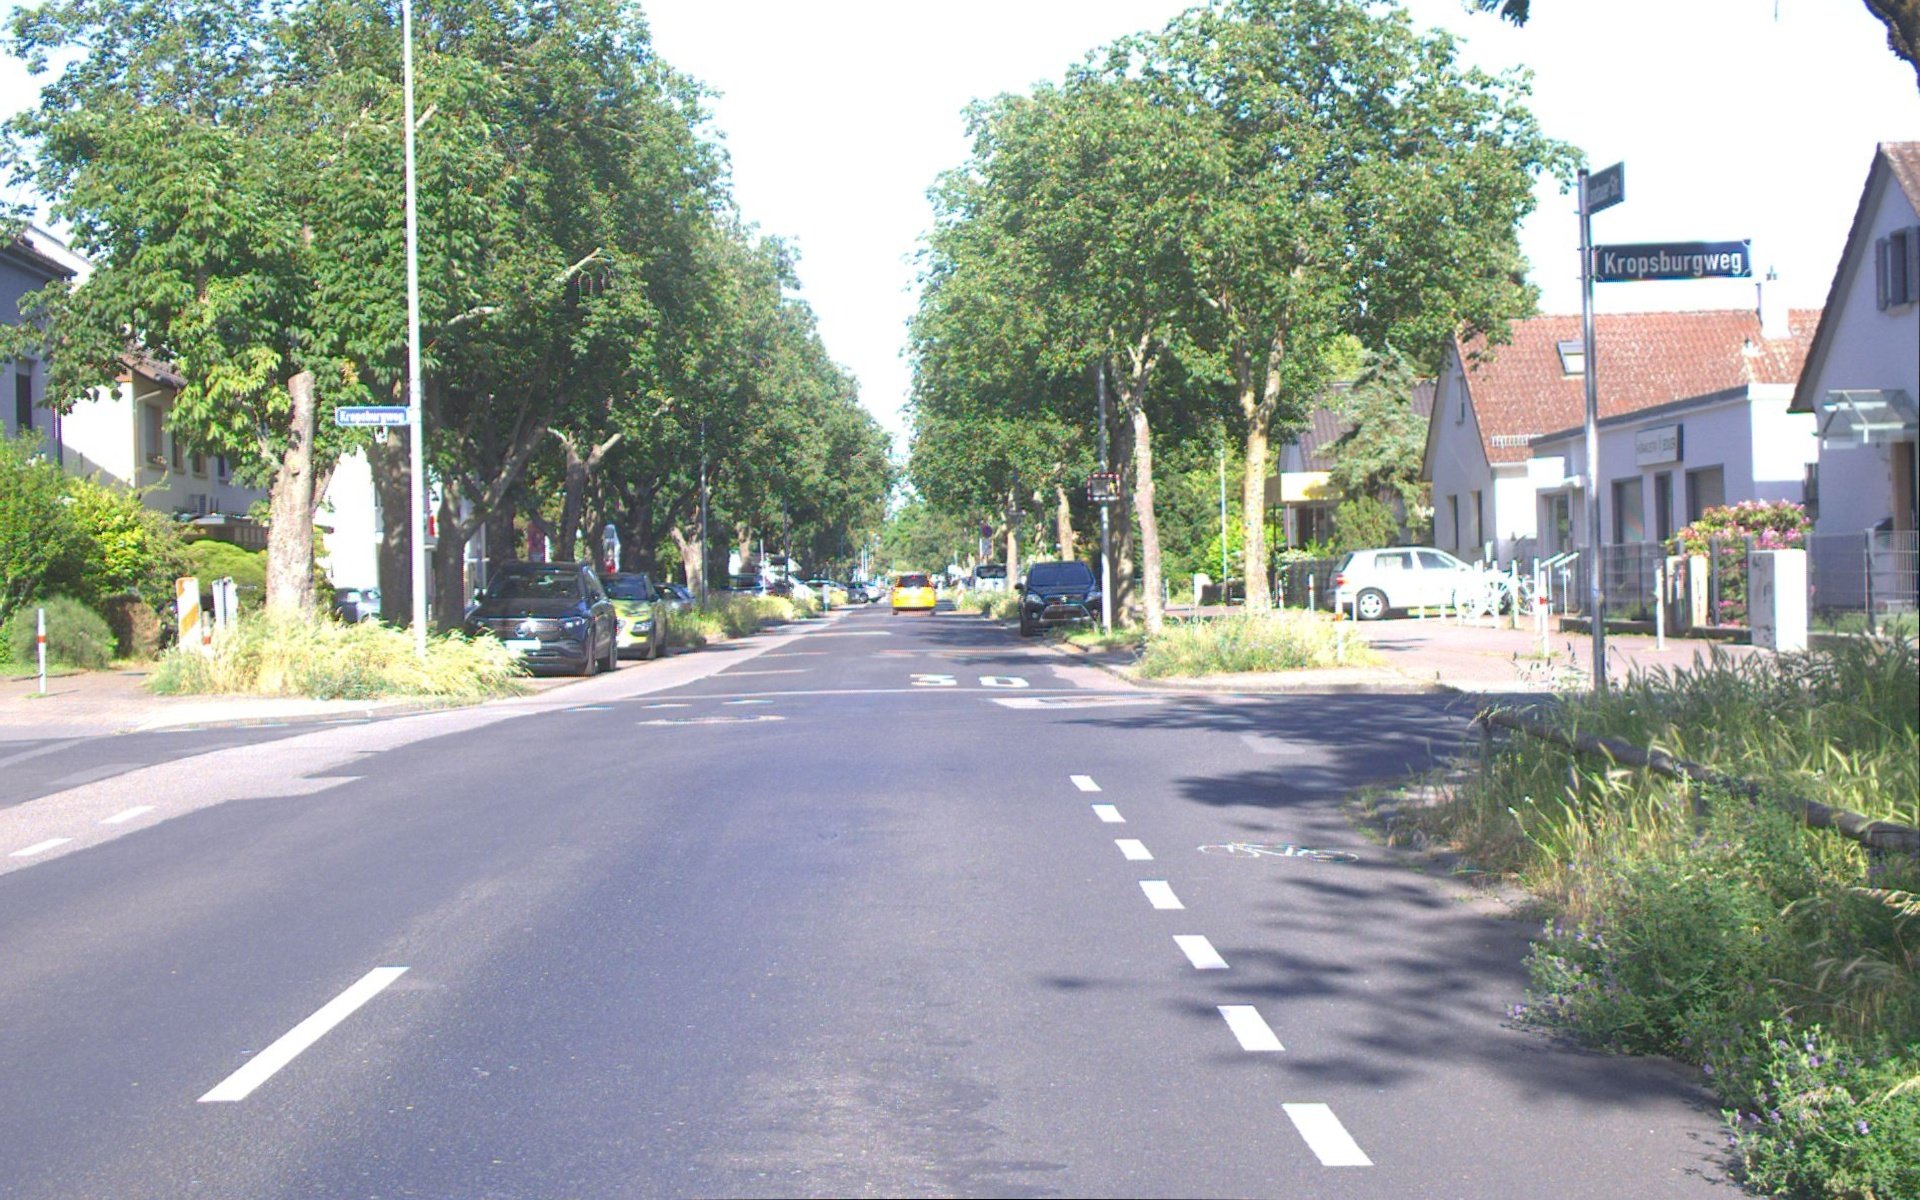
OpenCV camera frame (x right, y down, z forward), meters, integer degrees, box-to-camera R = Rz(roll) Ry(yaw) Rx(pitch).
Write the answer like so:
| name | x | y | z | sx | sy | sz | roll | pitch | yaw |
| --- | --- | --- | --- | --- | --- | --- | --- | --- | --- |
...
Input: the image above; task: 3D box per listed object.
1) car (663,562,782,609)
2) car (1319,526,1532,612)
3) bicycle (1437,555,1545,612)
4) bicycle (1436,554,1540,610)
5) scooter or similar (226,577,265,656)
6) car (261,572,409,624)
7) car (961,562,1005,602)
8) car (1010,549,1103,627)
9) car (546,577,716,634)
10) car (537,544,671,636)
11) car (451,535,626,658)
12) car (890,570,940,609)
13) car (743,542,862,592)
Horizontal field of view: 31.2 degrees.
| name | x | y | z | sx | sy | sz | roll | pitch | yaw |
| --- | --- | --- | --- | --- | --- | --- | --- | --- | --- |
| car | -9.150 | -0.559 | 132.408 | 4.545 | 1.759 | 2.001 | 0 | 2 | -5 |
| car | 9.457 | -0.643 | 70.024 | 3.987 | 1.483 | 1.902 | -3 | 2 | -2 |
| bicycle | 10.346 | -0.323 | 66.980 | 1.958 | 0.995 | 0.576 | -3 | 2 | -2 |
| bicycle | 10.440 | -0.355 | 67.970 | 1.923 | 0.995 | 0.576 | -3 | 2 | -2 |
| scooter or similar | -9.226 | 0.205 | 44.398 | 0.335 | 0.997 | 0.998 | -2 | 1 | -4 |
| car | -20.253 | -0.074 | 111.574 | 4.554 | 1.612 | 2.000 | 0 | 2 | -4 |
| car | 1.006 | -0.789 | 151.294 | 1.902 | 1.768 | 4.301 | 0 | 0 | 0 |
| car | 2.165 | -0.260 | 78.201 | 1.853 | 1.620 | 4.469 | -3 | 0 | -1 |
| car | -9.061 | 0.151 | 94.905 | 4.554 | 1.506 | 1.841 | 0 | 2 | -1 |
| car | -6.413 | -0.161 | 62.321 | 1.939 | 1.603 | 4.383 | 0 | 0 | 0 |
| car | -6.153 | -0.032 | 50.695 | 1.953 | 1.721 | 4.875 | 0 | 0 | 0 |
| car | -1.784 | -0.399 | 133.948 | 1.888 | 1.474 | 3.888 | 1 | 0 | -1 |
| car | -7.341 | -1.537 | 160.360 | 5.498 | 2.240 | 2.517 | 0 | 2 | -2 |
